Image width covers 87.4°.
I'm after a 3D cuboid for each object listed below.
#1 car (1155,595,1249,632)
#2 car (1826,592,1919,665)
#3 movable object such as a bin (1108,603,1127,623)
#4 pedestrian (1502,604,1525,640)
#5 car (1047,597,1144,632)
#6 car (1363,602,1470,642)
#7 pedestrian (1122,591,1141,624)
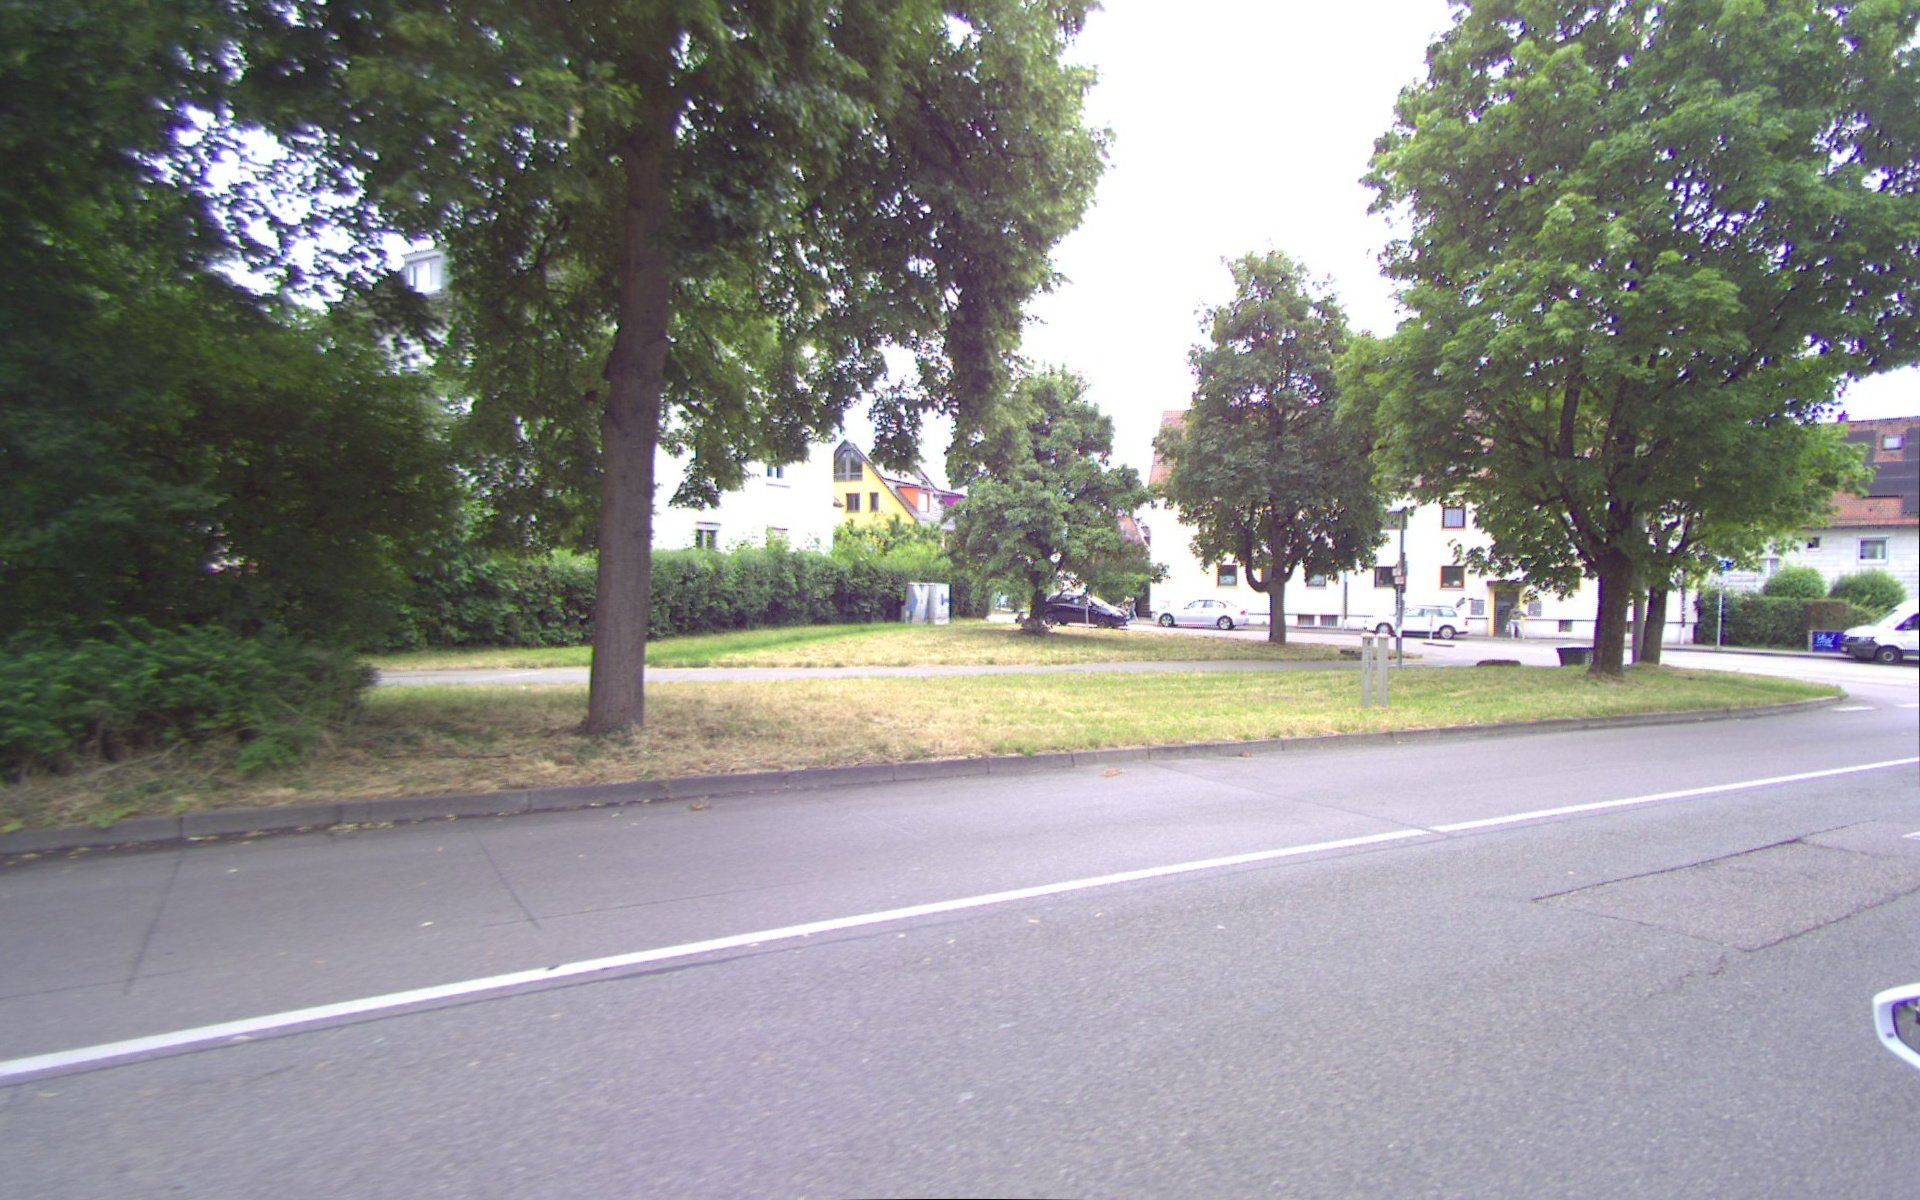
[{"bbox_3d":[11.528,0.644,47.766,4.150,1.554,1.683,3,0,20],"label":"car"},{"bbox_3d":[36.904,1.137,37.236,6.846,2.556,2.083,2,3,23],"label":"car"},{"bbox_3d":[8.277,0.670,52.791,0.862,1.010,0.403,3,3,25],"label":"movable object such as a bin"},{"bbox_3d":[25.444,0.994,46.161,0.735,1.555,0.716,3,3,20],"label":"pedestrian"},{"bbox_3d":[6.009,0.613,44.584,3.930,1.355,1.640,2,3,32],"label":"car"},{"bbox_3d":[20.595,0.980,45.527,4.232,1.459,1.721,3,3,20],"label":"car"},{"bbox_3d":[8.965,0.406,52.449,0.767,1.655,0.681,3,3,25],"label":"pedestrian"}]
